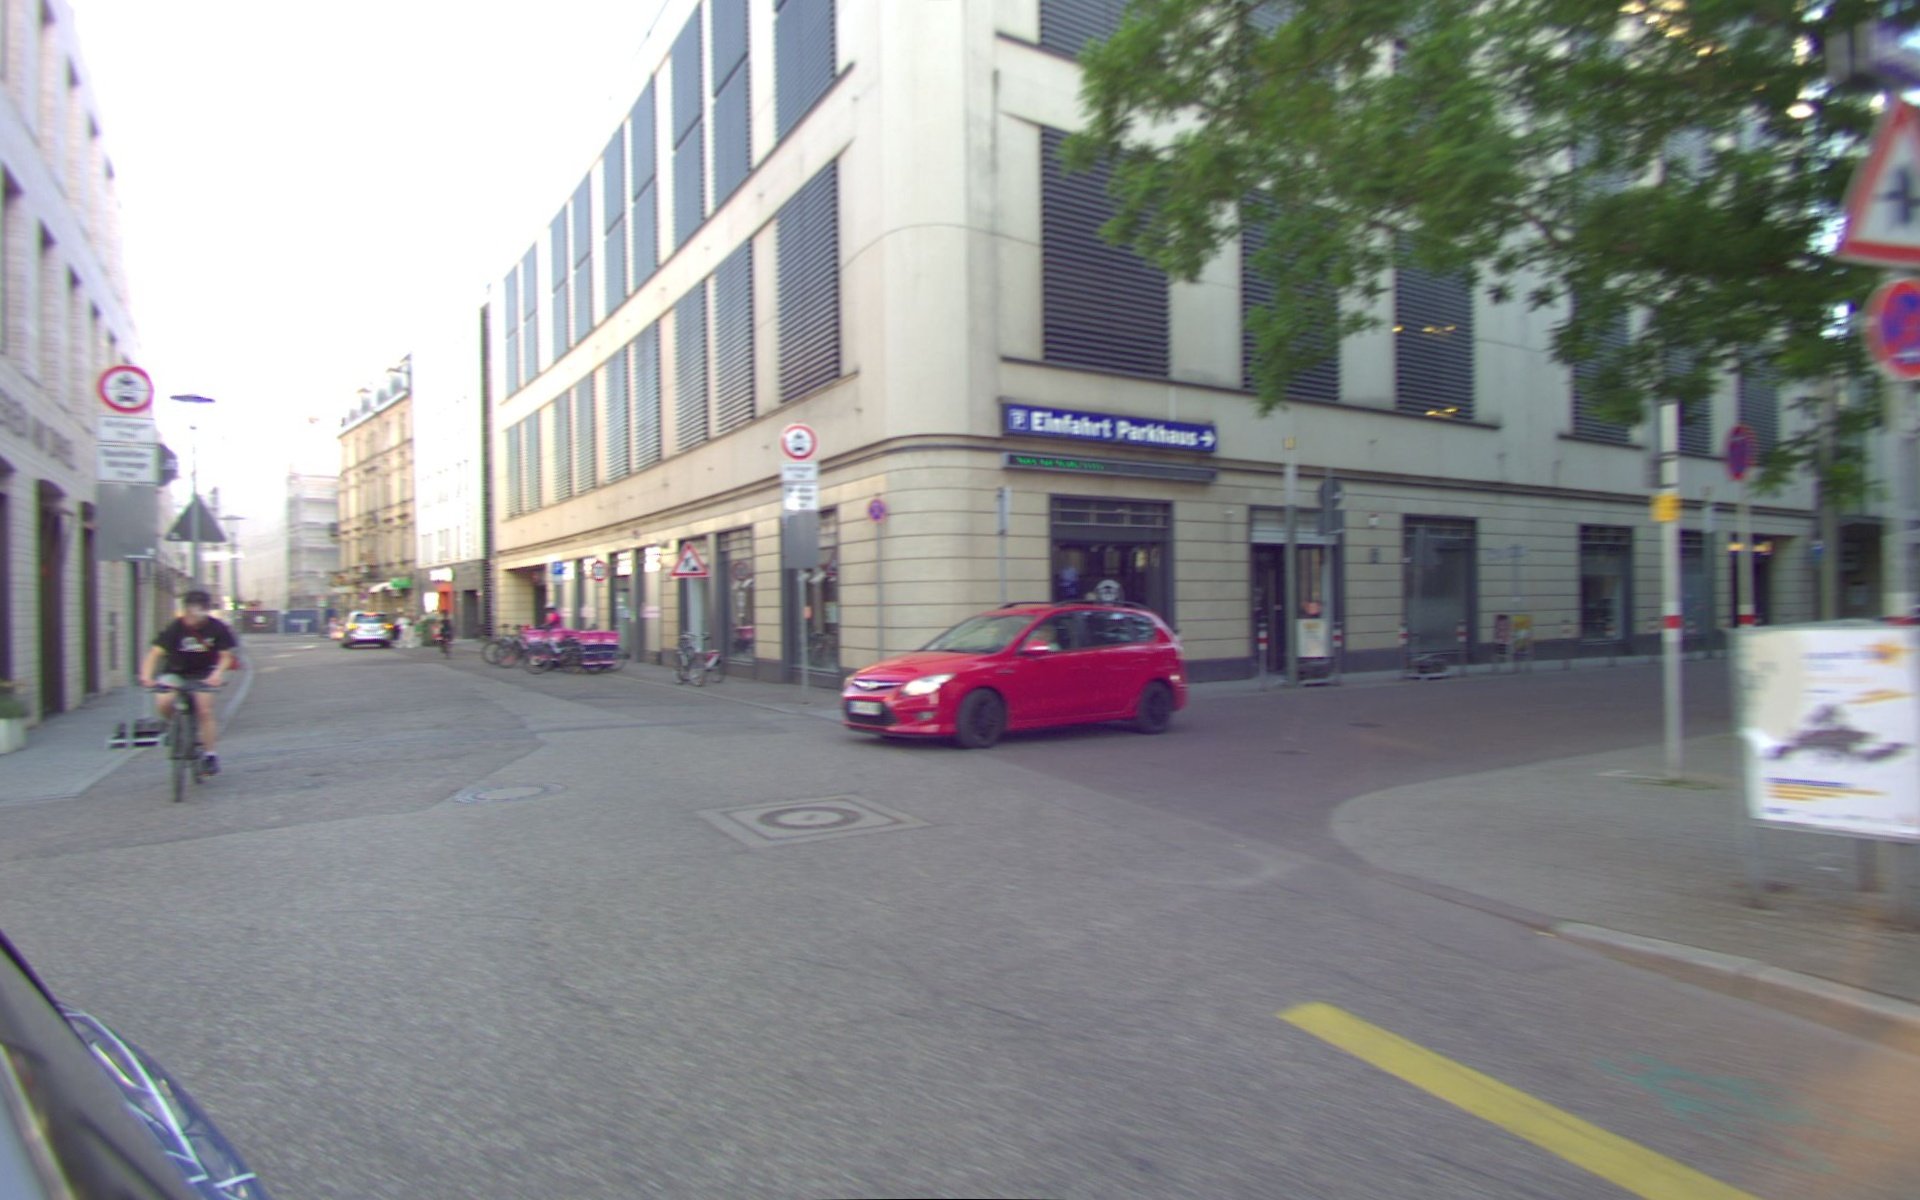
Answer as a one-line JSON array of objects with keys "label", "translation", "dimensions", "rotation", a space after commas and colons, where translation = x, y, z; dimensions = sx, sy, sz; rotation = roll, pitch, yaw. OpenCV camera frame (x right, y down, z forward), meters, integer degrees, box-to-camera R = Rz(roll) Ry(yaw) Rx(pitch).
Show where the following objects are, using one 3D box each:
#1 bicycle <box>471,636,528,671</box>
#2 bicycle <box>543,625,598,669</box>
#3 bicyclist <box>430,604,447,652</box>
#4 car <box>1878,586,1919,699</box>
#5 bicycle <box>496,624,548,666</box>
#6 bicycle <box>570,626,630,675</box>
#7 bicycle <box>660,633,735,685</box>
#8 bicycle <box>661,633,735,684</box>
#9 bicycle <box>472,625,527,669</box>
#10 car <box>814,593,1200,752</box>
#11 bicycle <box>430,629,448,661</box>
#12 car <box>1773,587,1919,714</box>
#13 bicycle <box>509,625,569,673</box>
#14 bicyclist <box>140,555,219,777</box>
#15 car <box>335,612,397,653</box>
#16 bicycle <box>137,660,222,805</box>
[{"label": "bicycle", "translation": [-13.272, 1.530, 29.184], "dimensions": [1.493, 0.960, 0.354], "rotation": [0, 0, -27]}, {"label": "bicycle", "translation": [-11.576, 1.387, 30.096], "dimensions": [1.493, 1.259, 0.354], "rotation": [0, 0, -15]}, {"label": "bicyclist", "translation": [-18.075, 0.953, 35.093], "dimensions": [0.489, 1.638, 0.634], "rotation": [0, 0, -26]}, {"label": "car", "translation": [14.792, 0.402, 12.250], "dimensions": [1.966, 1.511, 5.033], "rotation": [0, -4, -33]}, {"label": "bicycle", "translation": [-13.812, 1.415, 31.958], "dimensions": [1.493, 1.259, 0.354], "rotation": [0, 0, -20]}, {"label": "bicycle", "translation": [-9.758, 1.363, 27.455], "dimensions": [1.493, 1.259, 0.354], "rotation": [0, 0, -28]}, {"label": "bicycle", "translation": [-5.540, 1.243, 21.421], "dimensions": [1.494, 1.041, 0.353], "rotation": [-1, 0, -10]}, {"label": "bicycle", "translation": [-5.627, 1.250, 21.800], "dimensions": [1.494, 1.041, 0.353], "rotation": [-1, 0, -10]}, {"label": "bicycle", "translation": [-13.712, 1.389, 30.170], "dimensions": [1.493, 1.259, 0.354], "rotation": [0, 0, -23]}, {"label": "car", "translation": [0.647, 0.710, 11.410], "dimensions": [4.195, 1.476, 1.832], "rotation": [1, -1, -39]}, {"label": "bicycle", "translation": [-18.035, 1.526, 35.035], "dimensions": [0.509, 1.002, 2.116], "rotation": [0, 0, -26]}, {"label": "car", "translation": [12.581, 0.496, 11.284], "dimensions": [1.966, 1.463, 5.033], "rotation": [0, -4, -33]}, {"label": "bicycle", "translation": [-11.521, 1.334, 27.718], "dimensions": [1.493, 1.259, 0.354], "rotation": [0, 0, -15]}, {"label": "bicyclist", "translation": [-6.438, 0.518, 8.346], "dimensions": [0.493, 1.745, 0.553], "rotation": [0, 0, -40]}, {"label": "car", "translation": [-27.051, 1.429, 46.005], "dimensions": [2.141, 1.674, 4.010], "rotation": [0, 0, -35]}, {"label": "bicycle", "translation": [-6.552, 1.044, 8.469], "dimensions": [0.503, 0.981, 1.824], "rotation": [0, 0, -40]}]
